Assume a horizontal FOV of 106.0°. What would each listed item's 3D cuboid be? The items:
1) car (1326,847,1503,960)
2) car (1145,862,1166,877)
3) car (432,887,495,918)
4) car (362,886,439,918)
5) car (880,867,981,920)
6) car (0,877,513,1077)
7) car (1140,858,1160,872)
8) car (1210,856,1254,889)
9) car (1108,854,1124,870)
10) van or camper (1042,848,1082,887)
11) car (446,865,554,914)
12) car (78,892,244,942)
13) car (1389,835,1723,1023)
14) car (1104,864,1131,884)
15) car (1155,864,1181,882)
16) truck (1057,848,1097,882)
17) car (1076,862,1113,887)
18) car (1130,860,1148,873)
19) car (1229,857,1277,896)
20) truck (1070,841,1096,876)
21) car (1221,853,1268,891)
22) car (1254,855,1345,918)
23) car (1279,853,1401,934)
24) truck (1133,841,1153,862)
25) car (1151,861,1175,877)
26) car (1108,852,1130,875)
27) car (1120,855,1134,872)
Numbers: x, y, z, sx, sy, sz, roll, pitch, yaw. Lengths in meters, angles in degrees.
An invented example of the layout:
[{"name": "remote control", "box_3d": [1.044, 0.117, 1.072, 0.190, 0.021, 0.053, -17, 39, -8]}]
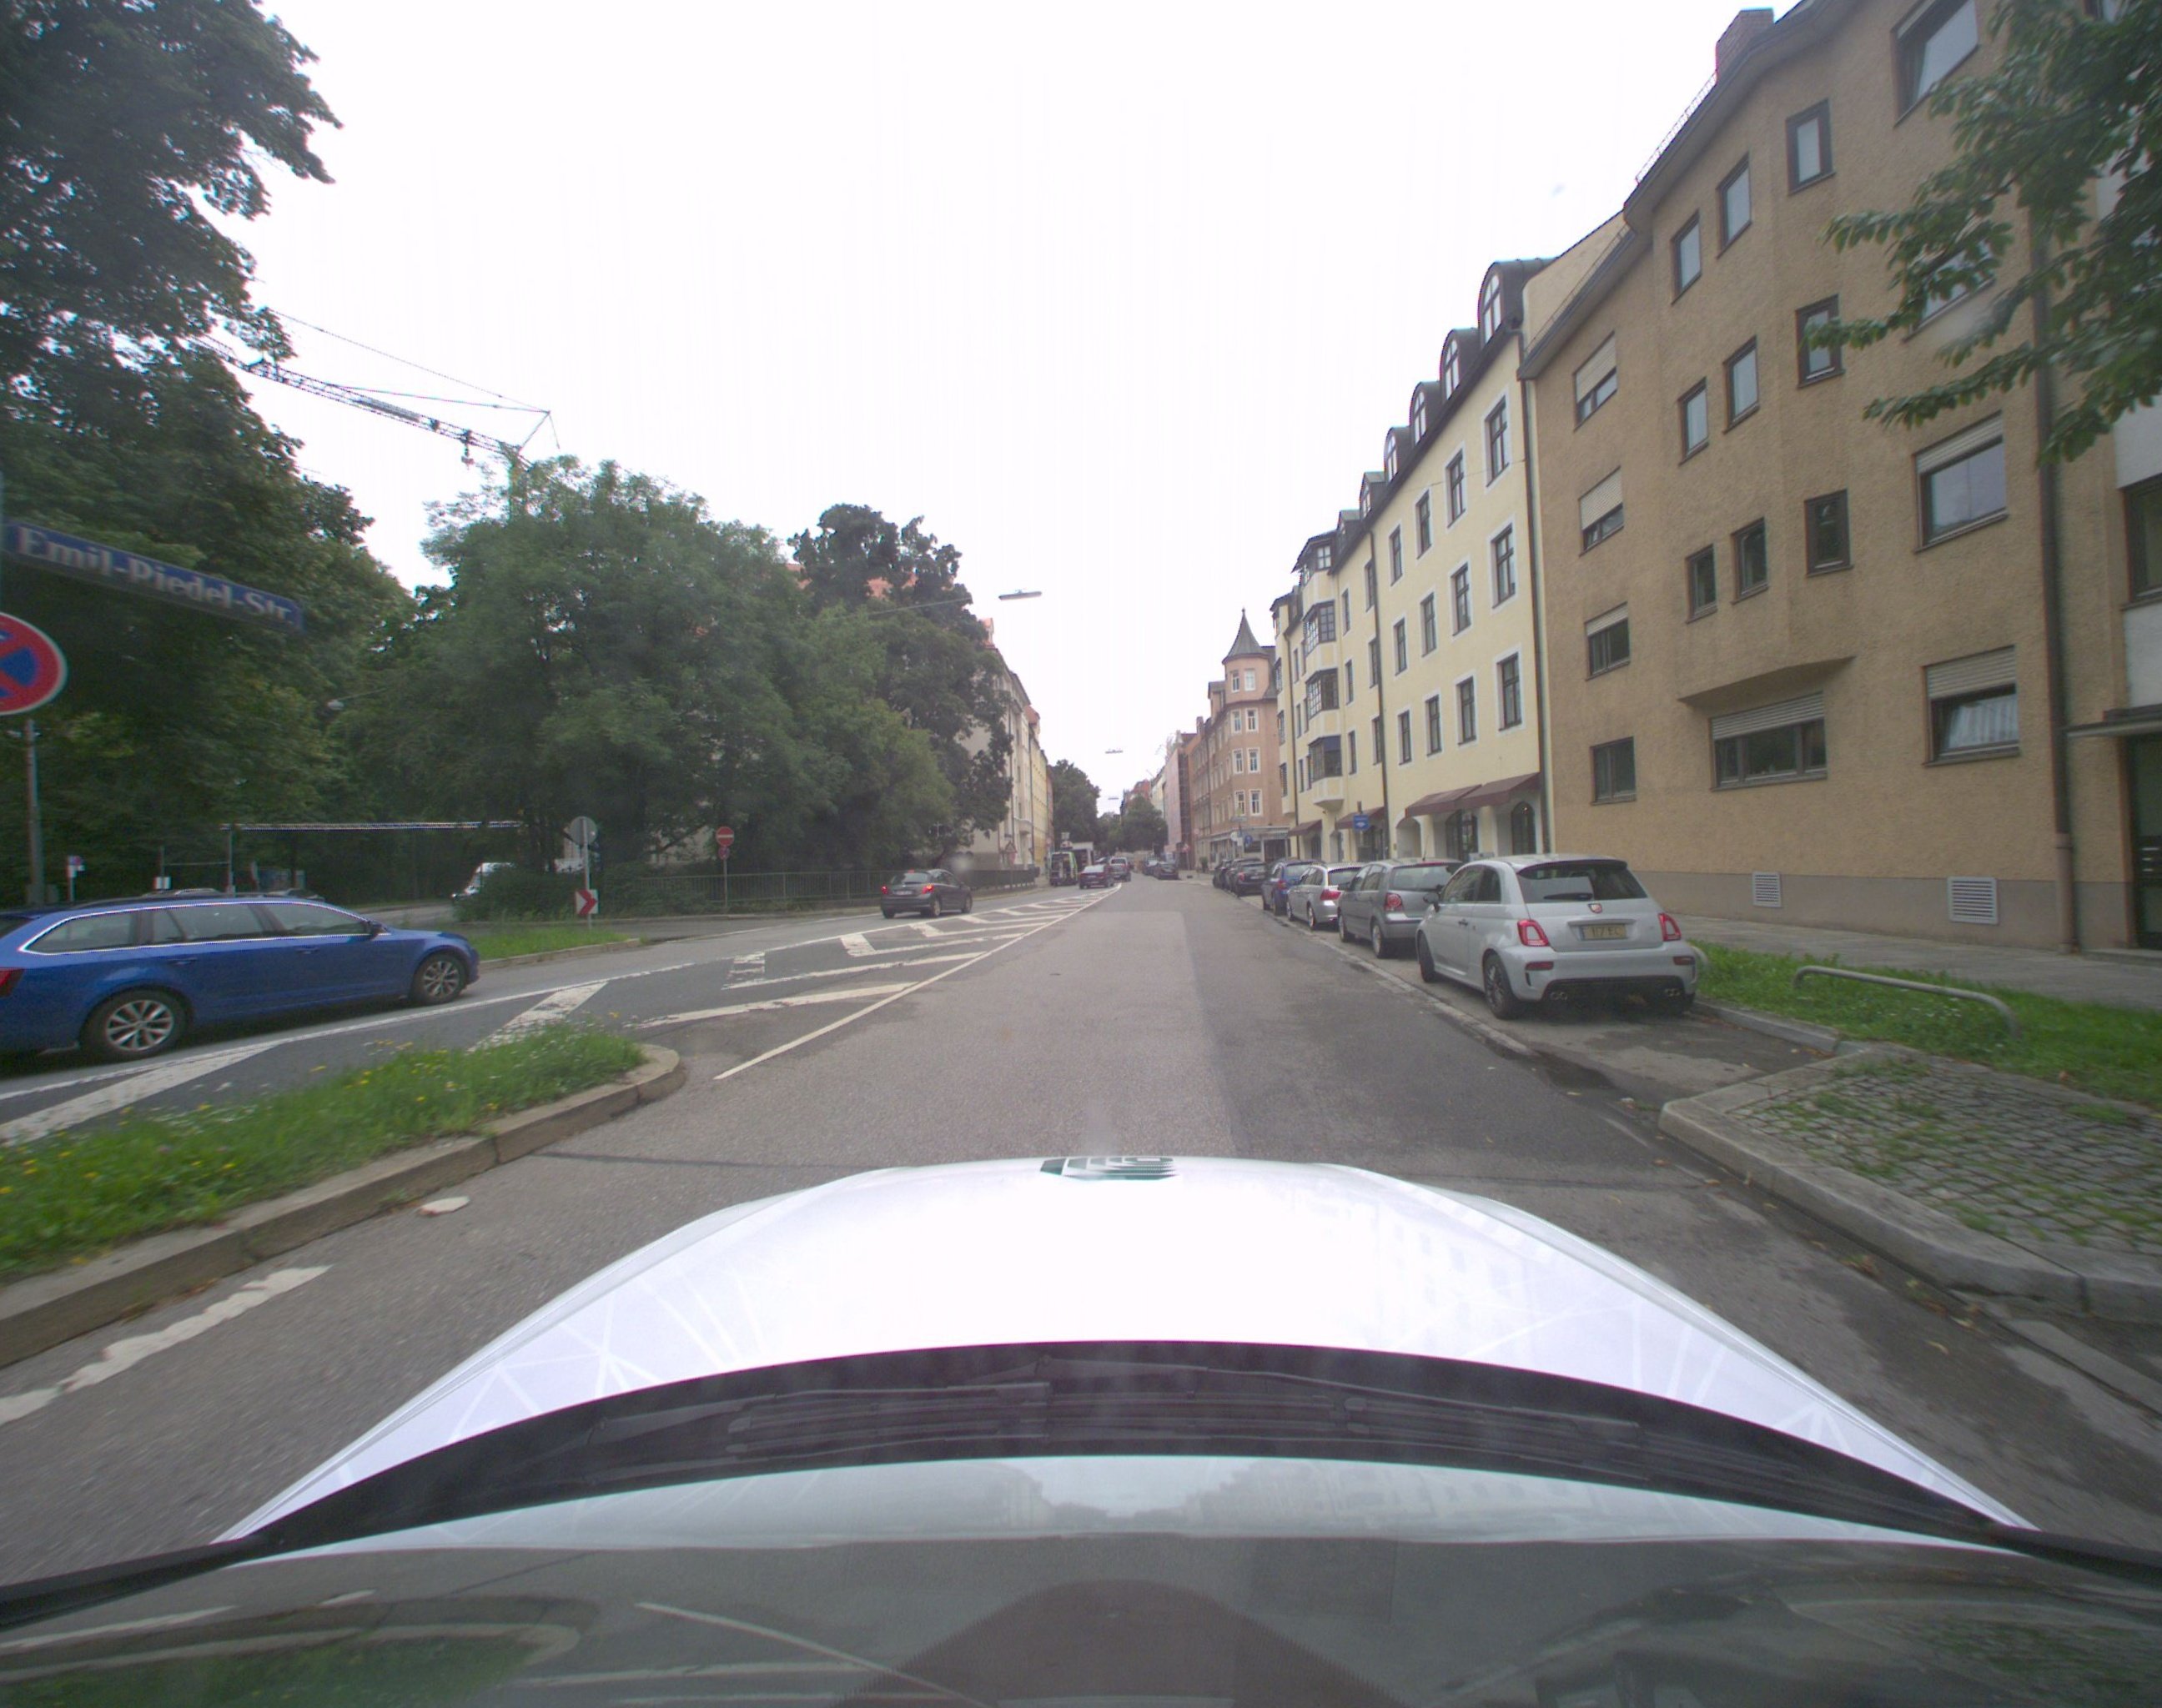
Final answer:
[{"name": "car", "box_3d": [5.261, 0.721, 13.374, 1.620, 1.496, 3.793, -4, -1, 6]}, {"name": "car", "box_3d": [7.608, 1.569, 83.792, 1.838, 1.429, 4.307, 1, 0, 1]}, {"name": "car", "box_3d": [-42.631, 3.332, 56.352, 1.690, 1.874, 3.988, -2, -1, -9]}, {"name": "car", "box_3d": [-41.669, 2.899, 49.998, 1.782, 1.732, 3.987, -2, -1, -9]}, {"name": "car", "box_3d": [-4.625, 1.179, 25.662, 1.748, 1.461, 4.085, -3, -1, 10]}, {"name": "car", "box_3d": [-8.921, 1.056, 8.505, 1.973, 1.454, 4.751, -3, -1, 13]}, {"name": "car", "box_3d": [7.737, 1.271, 91.572, 1.982, 1.429, 4.143, -2, 0, 2]}, {"name": "car", "box_3d": [8.463, 1.009, 46.058, 1.811, 1.679, 4.514, -4, -1, 3]}, {"name": "car", "box_3d": [4.649, 1.042, 107.670, 1.986, 2.014, 4.001, -3, -1, 1]}, {"name": "van or camper", "box_3d": [-1.436, 1.043, 64.673, 2.590, 2.840, 6.190, -2, 0, 3]}, {"name": "car", "box_3d": [-30.019, 1.795, 42.336, 2.298, 2.270, 5.116, -2, -1, -6]}, {"name": "car", "box_3d": [-38.680, 2.588, 34.469, 1.991, 1.718, 4.638, -3, -1, -6]}, {"name": "car", "box_3d": [4.729, 0.663, 8.811, 1.620, 1.496, 3.827, -4, -1, 6]}, {"name": "car", "box_3d": [2.932, 1.555, 65.359, 1.982, 1.429, 4.143, -2, 0, 2]}, {"name": "car", "box_3d": [7.328, 1.583, 69.130, 1.838, 1.429, 4.184, 1, 0, 1]}, {"name": "truck", "box_3d": [-0.288, 0.967, 75.159, 2.759, 2.873, 7.214, -2, 0, 6]}, {"name": "car", "box_3d": [0.928, 1.315, 53.217, 1.980, 1.429, 4.913, -2, 0, 6]}, {"name": "car", "box_3d": [7.187, 1.504, 101.338, 1.982, 1.429, 4.143, -2, 0, 2]}, {"name": "car", "box_3d": [7.445, 0.940, 35.601, 1.746, 1.496, 3.832, -4, -1, 9]}, {"name": "truck", "box_3d": [0.280, 0.600, 98.180, 3.002, 3.952, 6.995, -2, -1, 1]}, {"name": "car", "box_3d": [8.078, 0.879, 40.666, 1.748, 1.679, 4.714, -4, -1, 6]}, {"name": "car", "box_3d": [6.079, 0.859, 23.166, 1.748, 1.496, 4.495, -4, -1, 6]}, {"name": "car", "box_3d": [5.695, 0.814, 18.433, 1.682, 1.496, 4.441, -4, -1, 6]}, {"name": "truck", "box_3d": [8.898, -0.304, 117.601, 2.482, 2.973, 5.329, -2, -1, 1]}, {"name": "car", "box_3d": [7.501, 1.367, 75.162, 1.838, 1.429, 4.141, 1, 0, 1]}, {"name": "car", "box_3d": [3.645, 0.882, 78.426, 1.982, 2.075, 4.143, -2, 0, 2]}, {"name": "car", "box_3d": [7.024, 1.396, 123.383, 1.931, 2.480, 4.787, -2, -1, 4]}]
